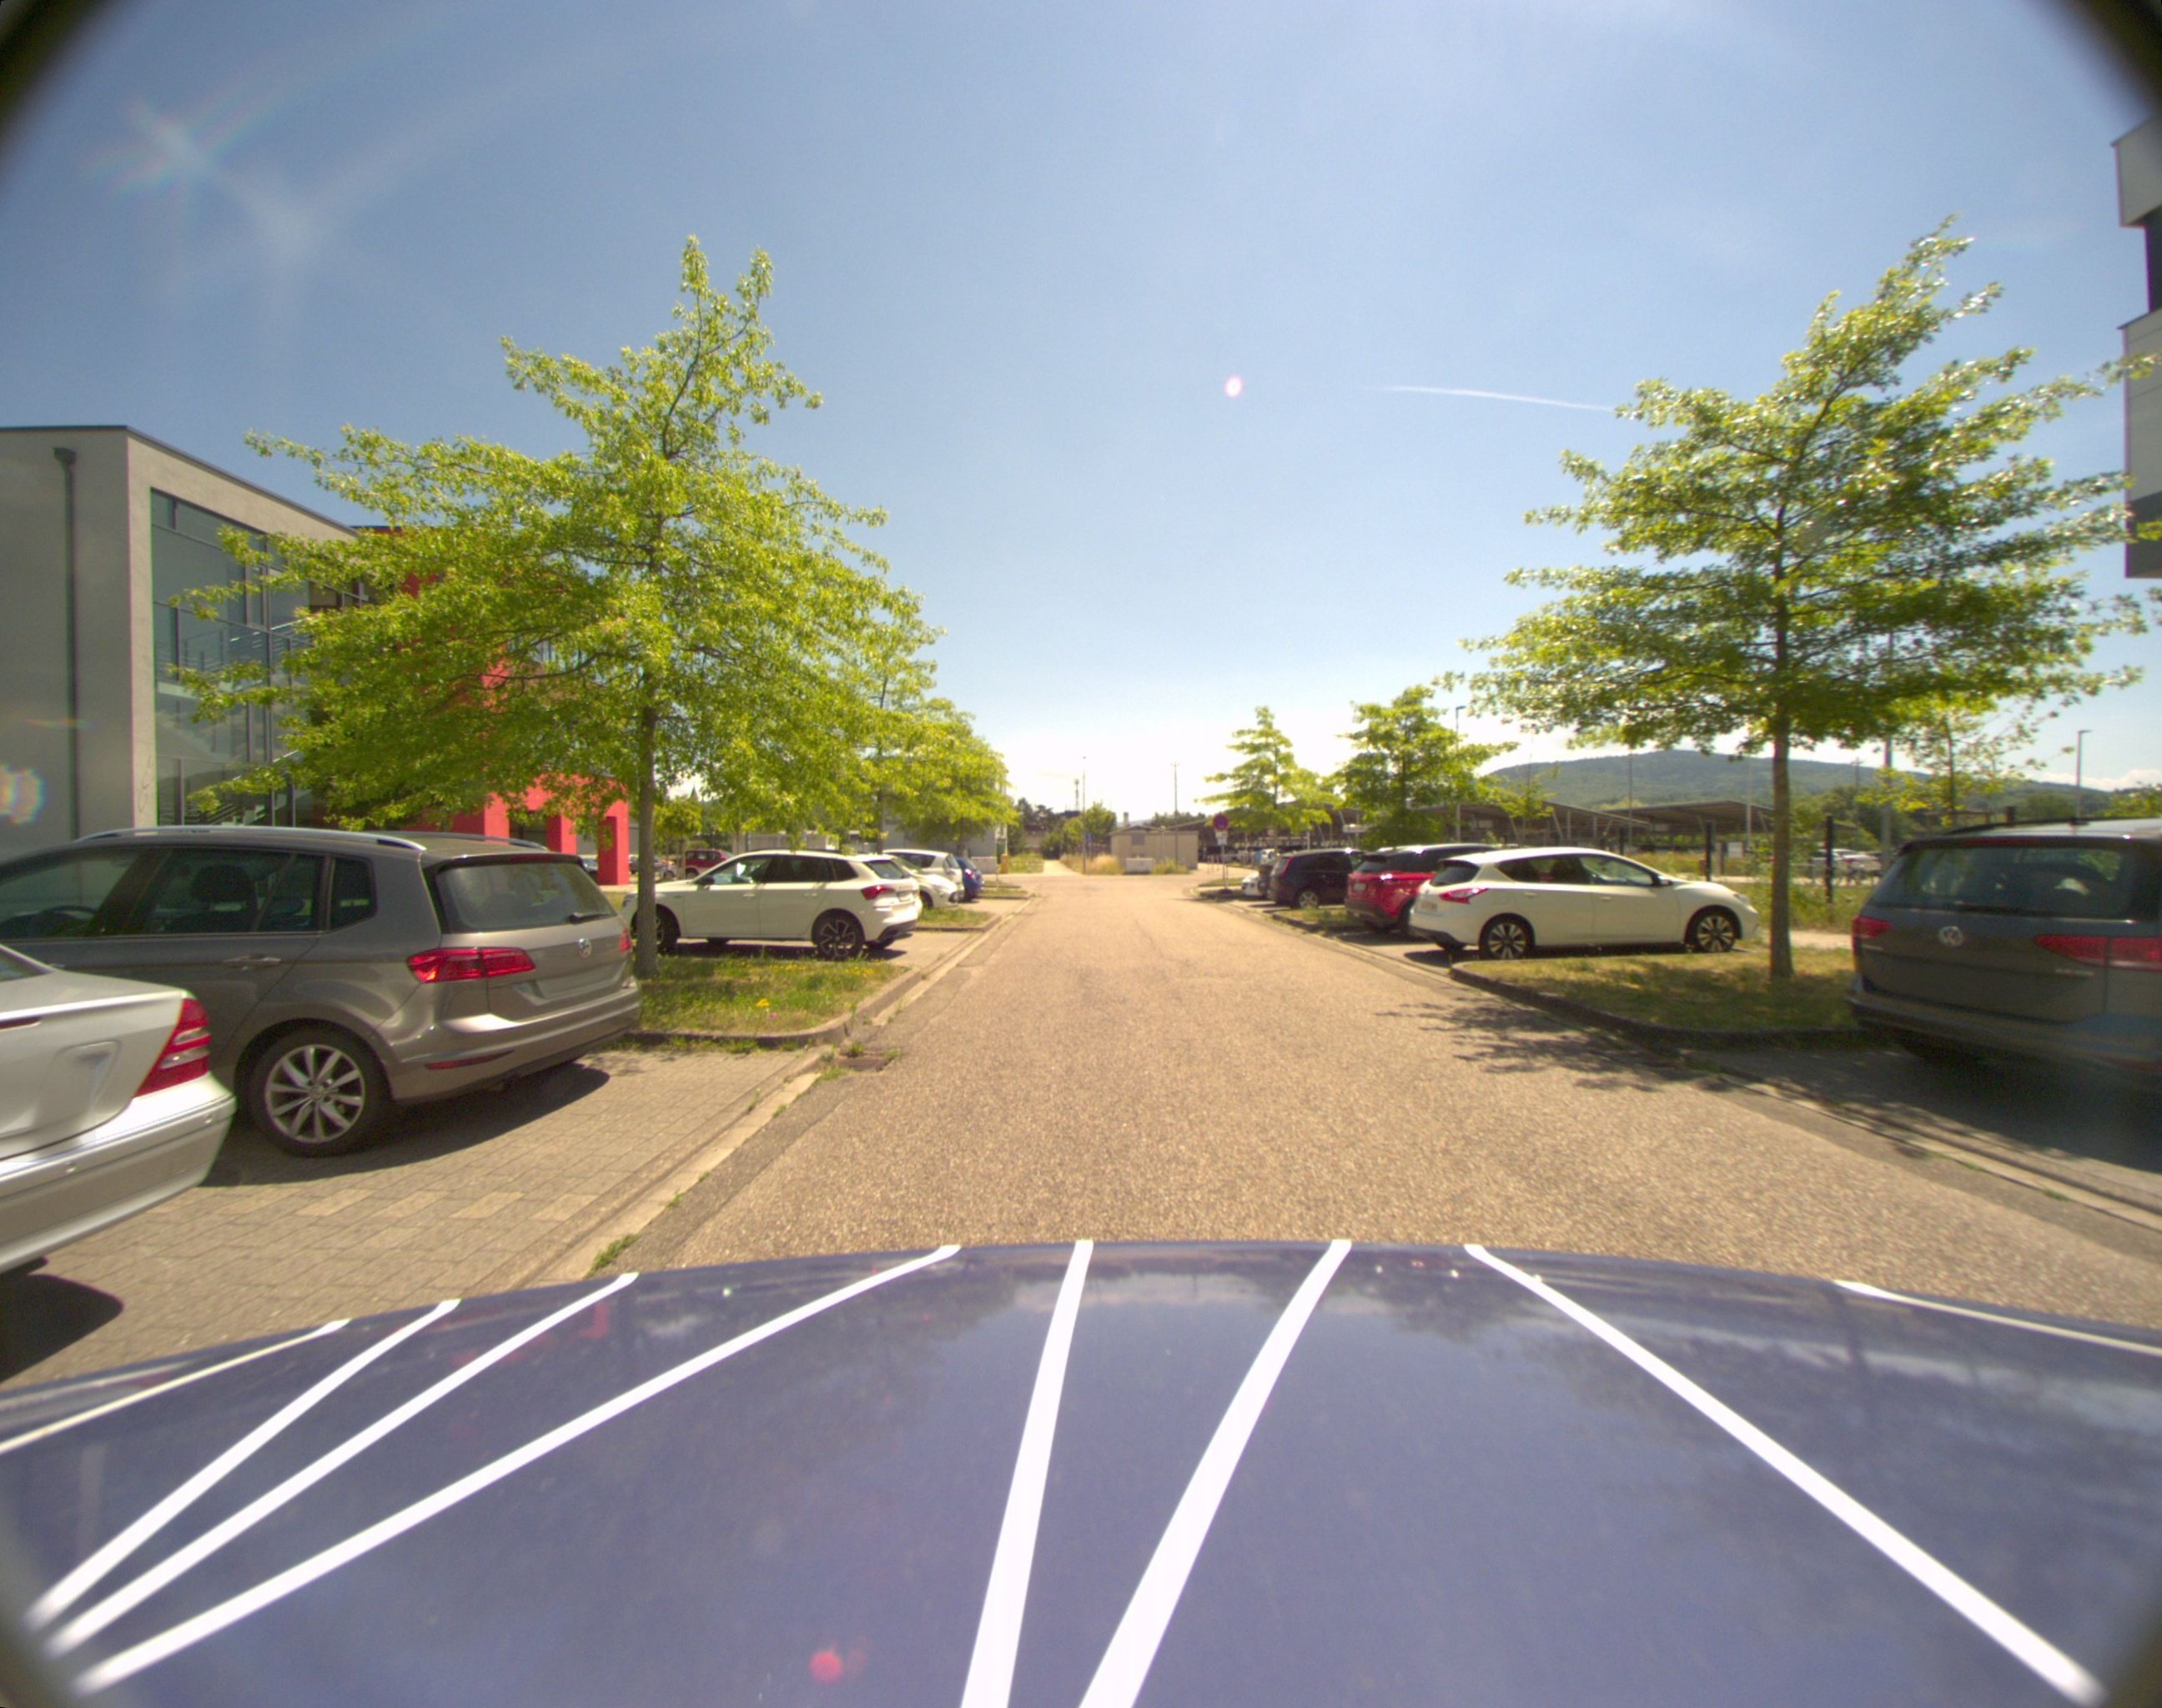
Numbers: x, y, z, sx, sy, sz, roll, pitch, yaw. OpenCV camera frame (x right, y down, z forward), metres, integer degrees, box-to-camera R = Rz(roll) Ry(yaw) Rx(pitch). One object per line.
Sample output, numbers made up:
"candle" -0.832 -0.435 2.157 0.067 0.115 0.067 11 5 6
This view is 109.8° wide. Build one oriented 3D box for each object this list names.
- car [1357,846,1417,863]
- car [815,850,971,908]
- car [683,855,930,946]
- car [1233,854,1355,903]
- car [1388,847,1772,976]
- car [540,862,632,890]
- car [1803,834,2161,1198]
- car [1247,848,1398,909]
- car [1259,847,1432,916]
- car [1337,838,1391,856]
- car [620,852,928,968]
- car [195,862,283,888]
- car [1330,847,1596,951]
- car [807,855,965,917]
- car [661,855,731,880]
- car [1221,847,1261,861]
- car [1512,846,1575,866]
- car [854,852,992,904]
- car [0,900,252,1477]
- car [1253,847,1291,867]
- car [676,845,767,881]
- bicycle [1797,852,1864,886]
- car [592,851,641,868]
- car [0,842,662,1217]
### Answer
"car" 22.723 0.015 56.571 3.774 1.221 1.723 -1 1 -4
"car" -5.467 0.708 22.412 4.119 1.641 1.774 0 0 2
"car" -4.845 0.800 13.832 3.844 1.515 1.779 0 1 0
"car" 6.989 0.783 25.171 3.513 1.433 1.727 -2 0 -1
"car" 6.838 0.762 10.778 4.182 1.504 1.807 -3 0 2
"car" -26.302 1.161 40.482 3.706 1.433 1.788 0 -2 -3
"car" 7.022 0.694 4.302 4.127 1.625 1.727 -2 0 2
"car" 7.107 0.704 22.607 3.849 1.584 1.829 -2 0 -3
"car" 6.826 0.700 19.933 3.915 1.582 1.728 -2 0 4
"car" 23.037 -0.552 61.996 3.774 1.428 1.723 -1 1 -4
"car" -4.407 0.754 11.274 3.842 1.544 1.780 0 0 5
"car" -54.087 1.326 48.873 3.626 1.461 1.658 -1 3 -1
"car" 6.671 0.745 13.542 3.849 1.582 1.727 -2 0 -2
"car" -4.986 0.798 19.714 3.626 1.454 1.611 1 0 2
"car" -24.935 0.853 49.334 3.626 1.493 1.657 -1 3 -3
"car" 16.833 -0.032 80.081 3.774 1.428 1.723 -1 1 -4
"car" 34.923 0.125 57.425 3.774 1.428 1.723 -1 1 -4
"car" -5.071 0.739 24.715 4.004 1.481 1.728 2 0 4
"car" -4.828 0.862 1.749 4.057 1.444 1.645 1 1 1
"car" 14.575 0.225 58.043 1.723 1.428 3.774 -1 0 -4
"car" -19.264 0.495 40.816 3.997 1.764 1.811 -1 -1 0
"bicycle" 22.336 0.449 22.656 1.596 0.976 0.462 -1 1 -2
"car" -44.550 0.561 72.984 3.625 1.493 1.658 -1 3 0
"car" -4.849 0.775 4.254 4.057 1.616 1.693 1 1 1
